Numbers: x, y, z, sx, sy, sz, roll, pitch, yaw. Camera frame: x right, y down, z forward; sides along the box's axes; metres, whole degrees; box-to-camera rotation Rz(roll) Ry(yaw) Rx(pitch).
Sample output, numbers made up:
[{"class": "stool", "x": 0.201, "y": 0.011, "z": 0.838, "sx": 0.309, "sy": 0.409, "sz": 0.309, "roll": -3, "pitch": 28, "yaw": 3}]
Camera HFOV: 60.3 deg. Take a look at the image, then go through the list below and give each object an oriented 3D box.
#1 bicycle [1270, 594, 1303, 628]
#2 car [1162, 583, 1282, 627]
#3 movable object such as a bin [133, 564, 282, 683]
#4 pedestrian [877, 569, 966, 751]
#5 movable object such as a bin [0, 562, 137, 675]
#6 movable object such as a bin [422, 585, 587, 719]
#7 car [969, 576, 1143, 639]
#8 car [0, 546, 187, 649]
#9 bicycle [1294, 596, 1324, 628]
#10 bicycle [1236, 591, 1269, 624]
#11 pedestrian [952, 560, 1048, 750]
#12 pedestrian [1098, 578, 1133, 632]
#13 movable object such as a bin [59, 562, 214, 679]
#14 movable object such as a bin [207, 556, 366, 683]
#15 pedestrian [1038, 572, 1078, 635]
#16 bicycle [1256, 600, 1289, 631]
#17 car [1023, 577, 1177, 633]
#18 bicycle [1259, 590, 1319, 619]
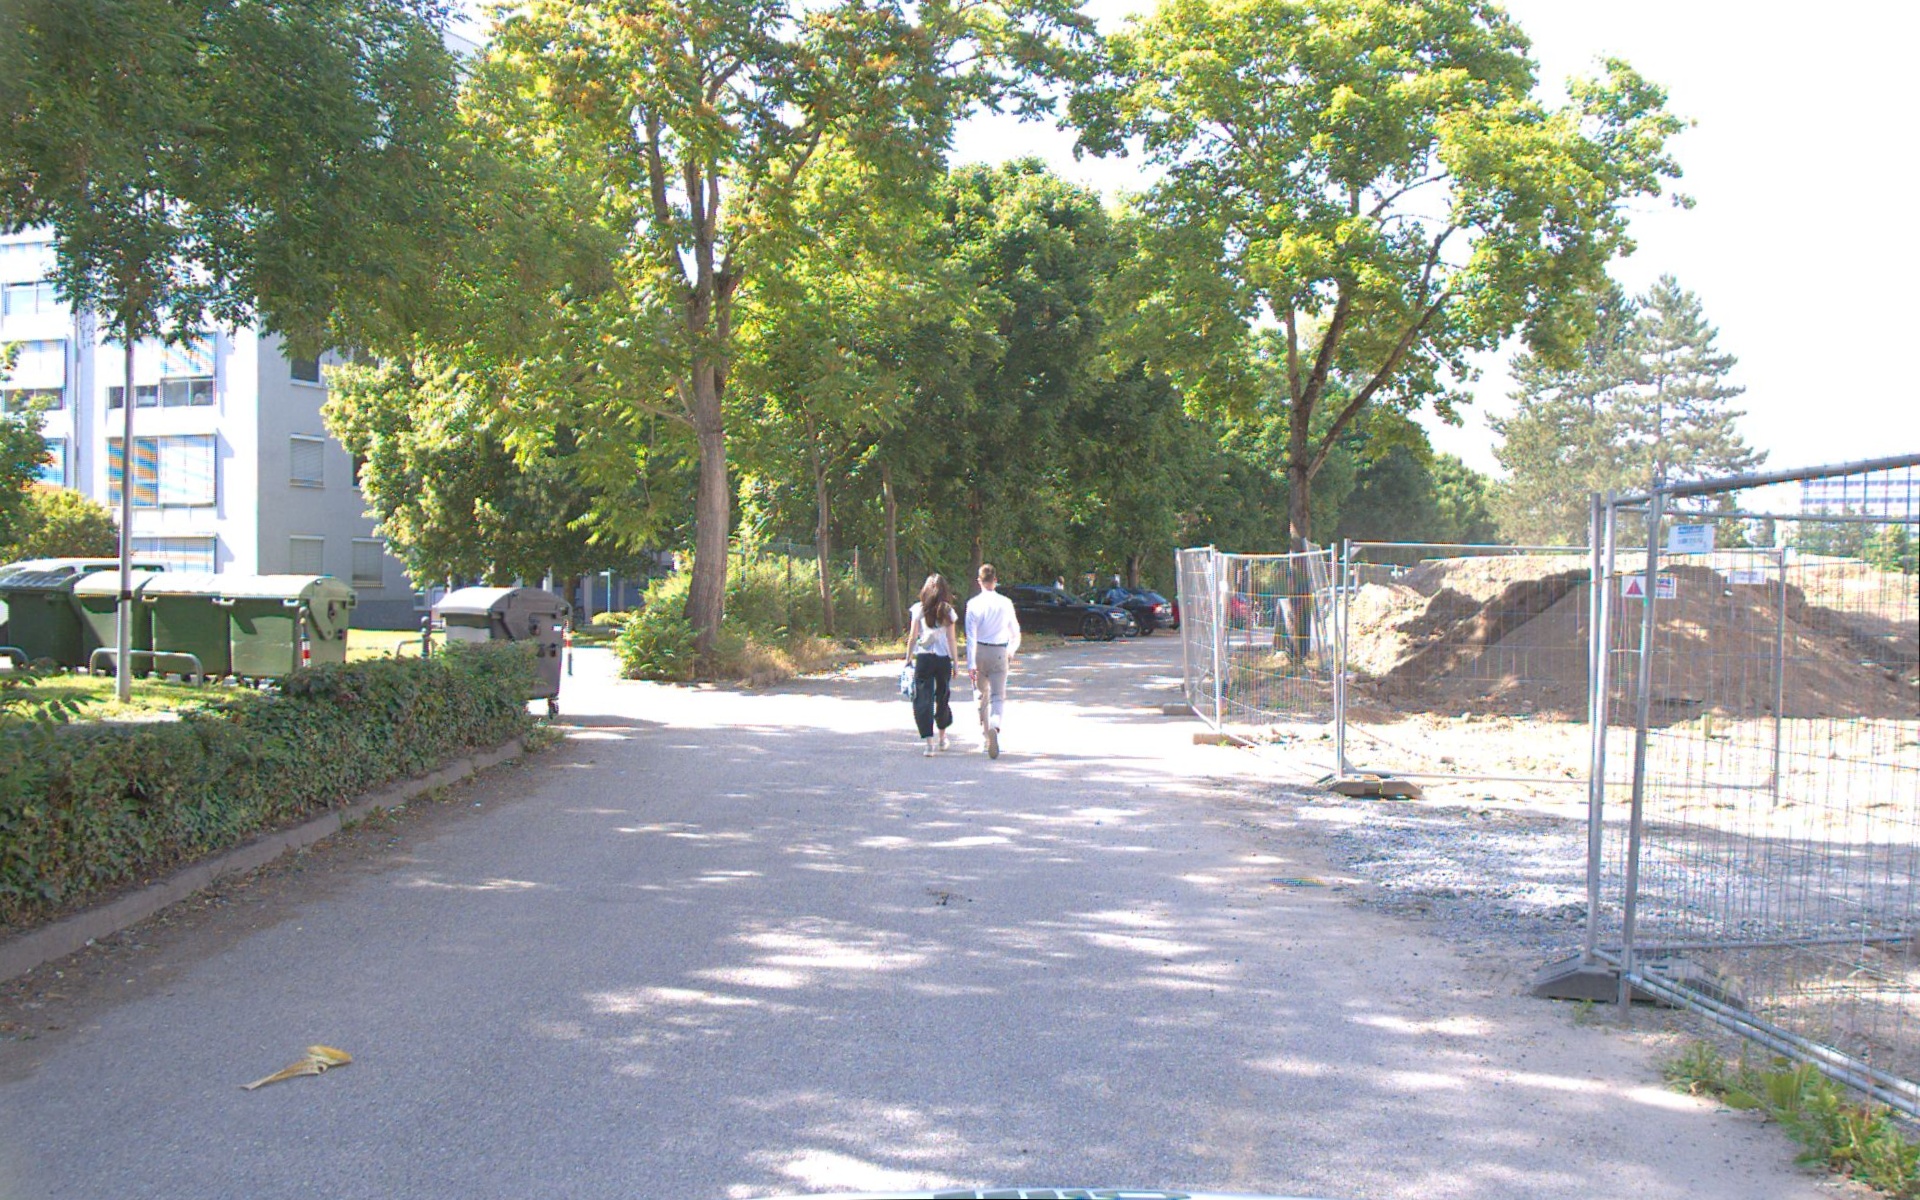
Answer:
[{"class": "bicycle", "x": 13.040, "y": 0.418, "z": 66.010, "sx": 0.700, "sy": 1.306, "sz": 2.683, "roll": 1, "pitch": 1, "yaw": 23}, {"class": "car", "x": 9.959, "y": 0.169, "z": 62.798, "sx": 4.199, "sy": 1.550, "sz": 1.892, "roll": 1, "pitch": 1, "yaw": 22}, {"class": "movable object such as a bin", "x": -9.496, "y": 0.279, "z": 20.907, "sx": 1.193, "sy": 1.456, "sz": 1.249, "roll": 0, "pitch": 0, "yaw": 13}, {"class": "pedestrian", "x": -0.371, "y": 0.549, "z": 15.685, "sx": 0.722, "sy": 1.668, "sz": 0.779, "roll": 0, "pitch": 1, "yaw": -10}, {"class": "movable object such as a bin", "x": -12.033, "y": 0.226, "z": 22.172, "sx": 1.318, "sy": 1.456, "sz": 1.248, "roll": 1, "pitch": 0, "yaw": 23}, {"class": "movable object such as a bin", "x": -5.102, "y": 0.546, "z": 18.523, "sx": 1.379, "sy": 1.421, "sz": 1.241, "roll": 1, "pitch": 0, "yaw": 42}, {"class": "car", "x": 2.729, "y": 0.174, "z": 46.500, "sx": 4.557, "sy": 1.612, "sz": 2.002, "roll": 1, "pitch": 1, "yaw": 15}, {"class": "car", "x": -18.538, "y": -0.068, "z": 33.607, "sx": 1.954, "sy": 1.967, "sz": 5.037, "roll": 1, "pitch": 0, "yaw": 25}, {"class": "bicycle", "x": 14.750, "y": 0.499, "z": 69.867, "sx": 0.700, "sy": 1.306, "sz": 2.636, "roll": 1, "pitch": 1, "yaw": 23}, {"class": "bicycle", "x": 11.865, "y": 0.286, "z": 67.020, "sx": 0.700, "sy": 1.306, "sz": 2.790, "roll": 1, "pitch": 1, "yaw": 23}, {"class": "pedestrian", "x": 0.372, "y": 0.500, "z": 15.799, "sx": 0.741, "sy": 1.758, "sz": 0.852, "roll": 0, "pitch": 1, "yaw": -10}, {"class": "pedestrian", "x": 4.756, "y": 0.142, "z": 50.564, "sx": 0.905, "sy": 1.623, "sz": 0.786, "roll": 1, "pitch": 1, "yaw": 15}, {"class": "movable object such as a bin", "x": -10.705, "y": 0.249, "z": 21.525, "sx": 1.334, "sy": 1.456, "sz": 1.248, "roll": 1, "pitch": 0, "yaw": 23}, {"class": "movable object such as a bin", "x": -8.253, "y": 0.220, "z": 20.318, "sx": 1.307, "sy": 1.507, "sz": 1.249, "roll": 1, "pitch": 0, "yaw": 18}, {"class": "pedestrian", "x": 2.845, "y": 0.091, "z": 48.046, "sx": 0.992, "sy": 1.812, "sz": 0.820, "roll": 1, "pitch": 0, "yaw": 15}, {"class": "bicycle", "x": 13.600, "y": 0.647, "z": 71.899, "sx": 0.800, "sy": 1.306, "sz": 2.683, "roll": 1, "pitch": 1, "yaw": 23}, {"class": "car", "x": 4.436, "y": 0.139, "z": 52.170, "sx": 4.557, "sy": 1.612, "sz": 2.002, "roll": 1, "pitch": 1, "yaw": 15}, {"class": "bicycle", "x": 15.287, "y": 0.216, "z": 76.837, "sx": 2.619, "sy": 1.306, "sz": 0.819, "roll": 1, "pitch": 0, "yaw": 18}]
